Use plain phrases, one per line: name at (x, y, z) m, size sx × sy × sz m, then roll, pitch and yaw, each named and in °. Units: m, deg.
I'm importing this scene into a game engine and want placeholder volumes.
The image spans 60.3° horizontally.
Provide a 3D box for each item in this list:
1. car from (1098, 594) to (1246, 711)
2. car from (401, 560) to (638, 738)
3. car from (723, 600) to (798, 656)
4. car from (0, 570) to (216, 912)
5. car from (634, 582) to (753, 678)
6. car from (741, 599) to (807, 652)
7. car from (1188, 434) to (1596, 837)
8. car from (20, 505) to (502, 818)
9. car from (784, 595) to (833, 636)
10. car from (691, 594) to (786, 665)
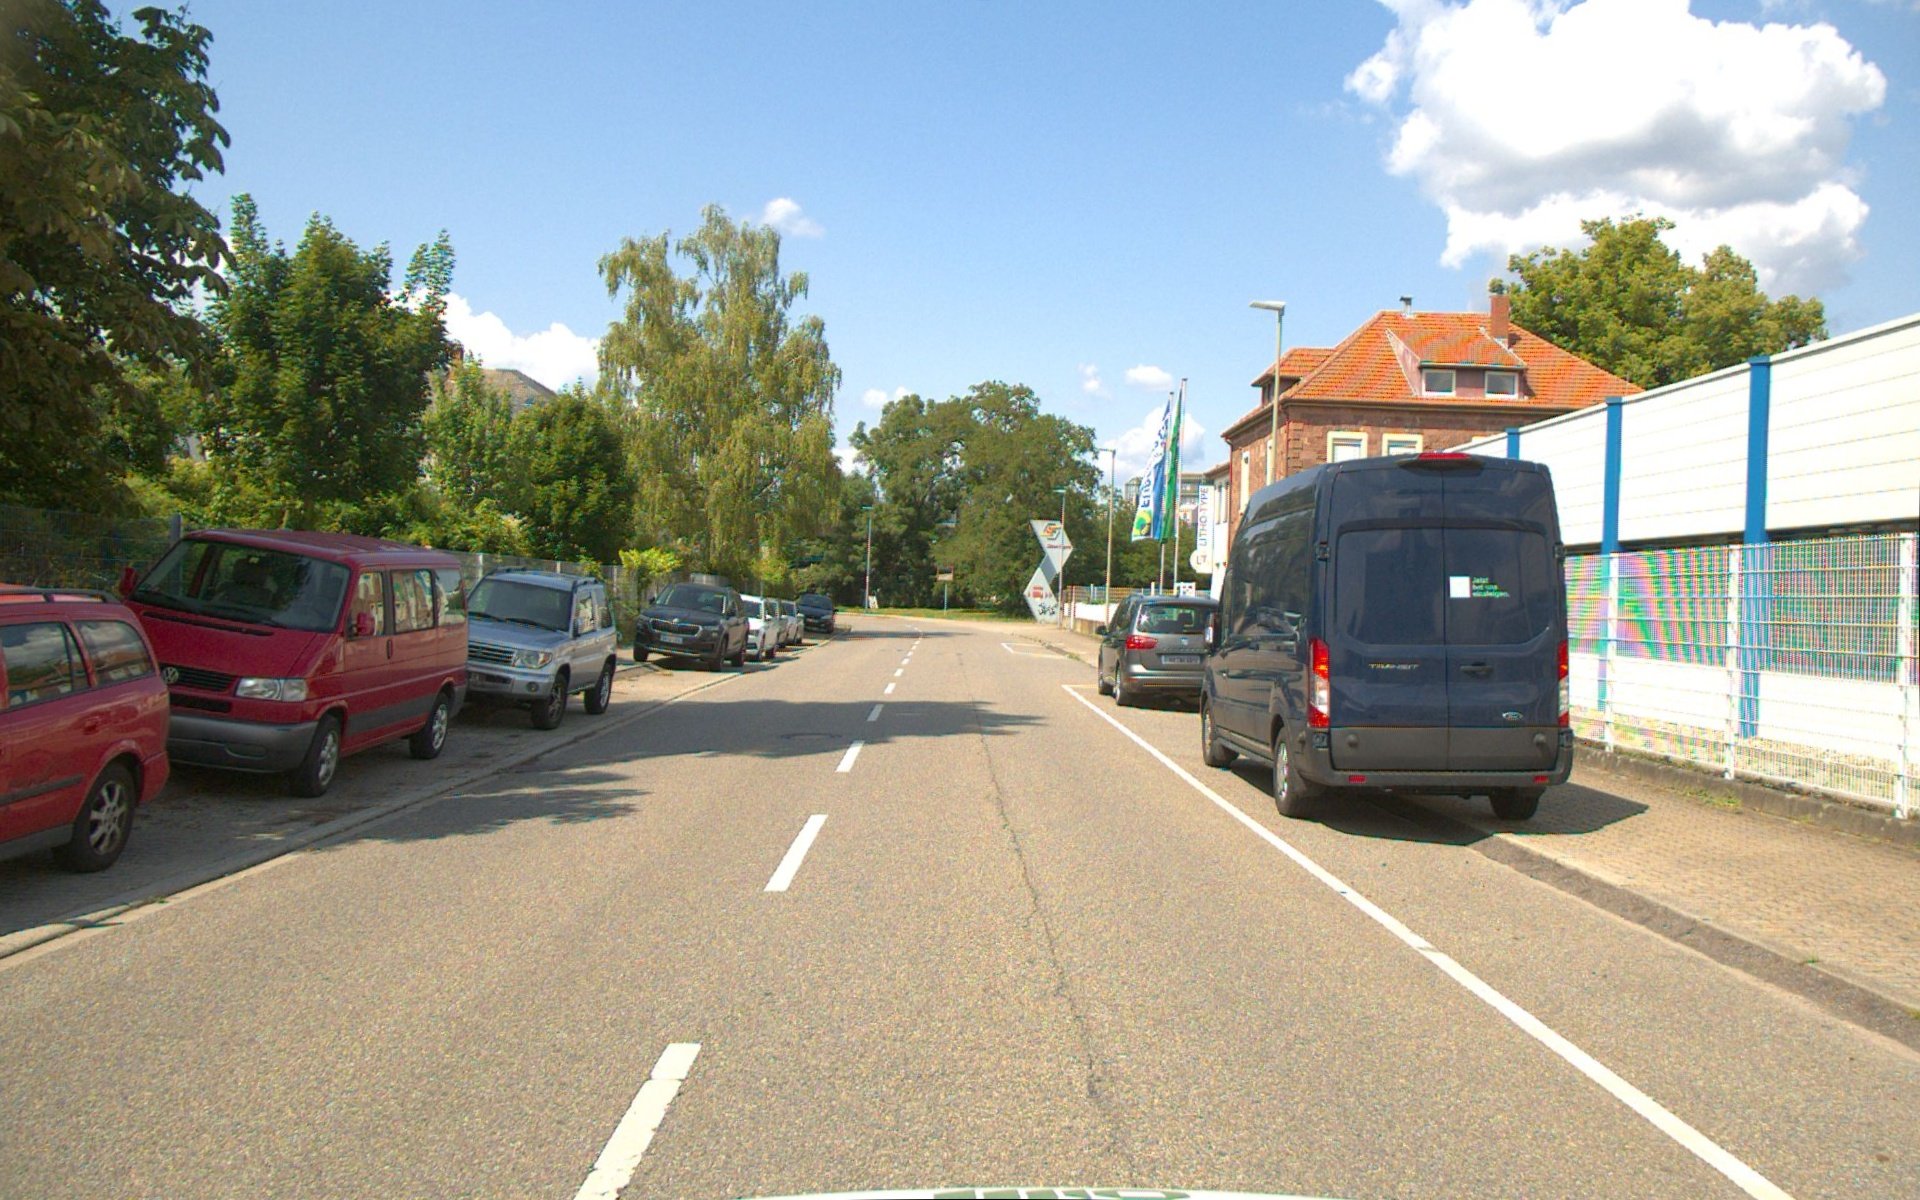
car at (3.342, 0.775, 26.828) m, size 1.787 × 1.693 × 4.555 m, roll 1°, pitch 0°, yaw 0°
car at (-5.295, 0.535, 20.382) m, size 1.665 × 1.833 × 3.827 m, roll 5°, pitch 0°, yaw 1°
car at (-6.016, 0.804, 50.285) m, size 1.758 × 1.554 × 4.658 m, roll 1°, pitch 0°, yaw -1°
car at (-5.342, 0.651, 7.869) m, size 1.592 × 1.559 × 4.268 m, roll 5°, pitch 0°, yaw -1°
car at (-5.502, 0.567, 34.681) m, size 1.577 × 1.775 × 4.637 m, roll 3°, pitch 0°, yaw 1°
car at (-6.219, 0.819, 55.614) m, size 1.690 × 1.502 × 4.630 m, roll 6°, pitch 0°, yaw -2°
car at (3.448, 0.250, 14.645) m, size 1.898 × 2.796 × 6.153 m, roll 1°, pitch 0°, yaw -1°
car at (-5.616, 0.434, 14.150) m, size 1.861 × 1.987 × 4.957 m, roll 7°, pitch 0°, yaw -1°
car at (-6.352, 0.633, 69.744) m, size 1.649 × 1.538 × 4.156 m, roll 5°, pitch 0°, yaw -2°
car at (-5.437, 0.678, 41.124) m, size 1.665 × 1.623 × 4.787 m, roll 1°, pitch 0°, yaw 0°
